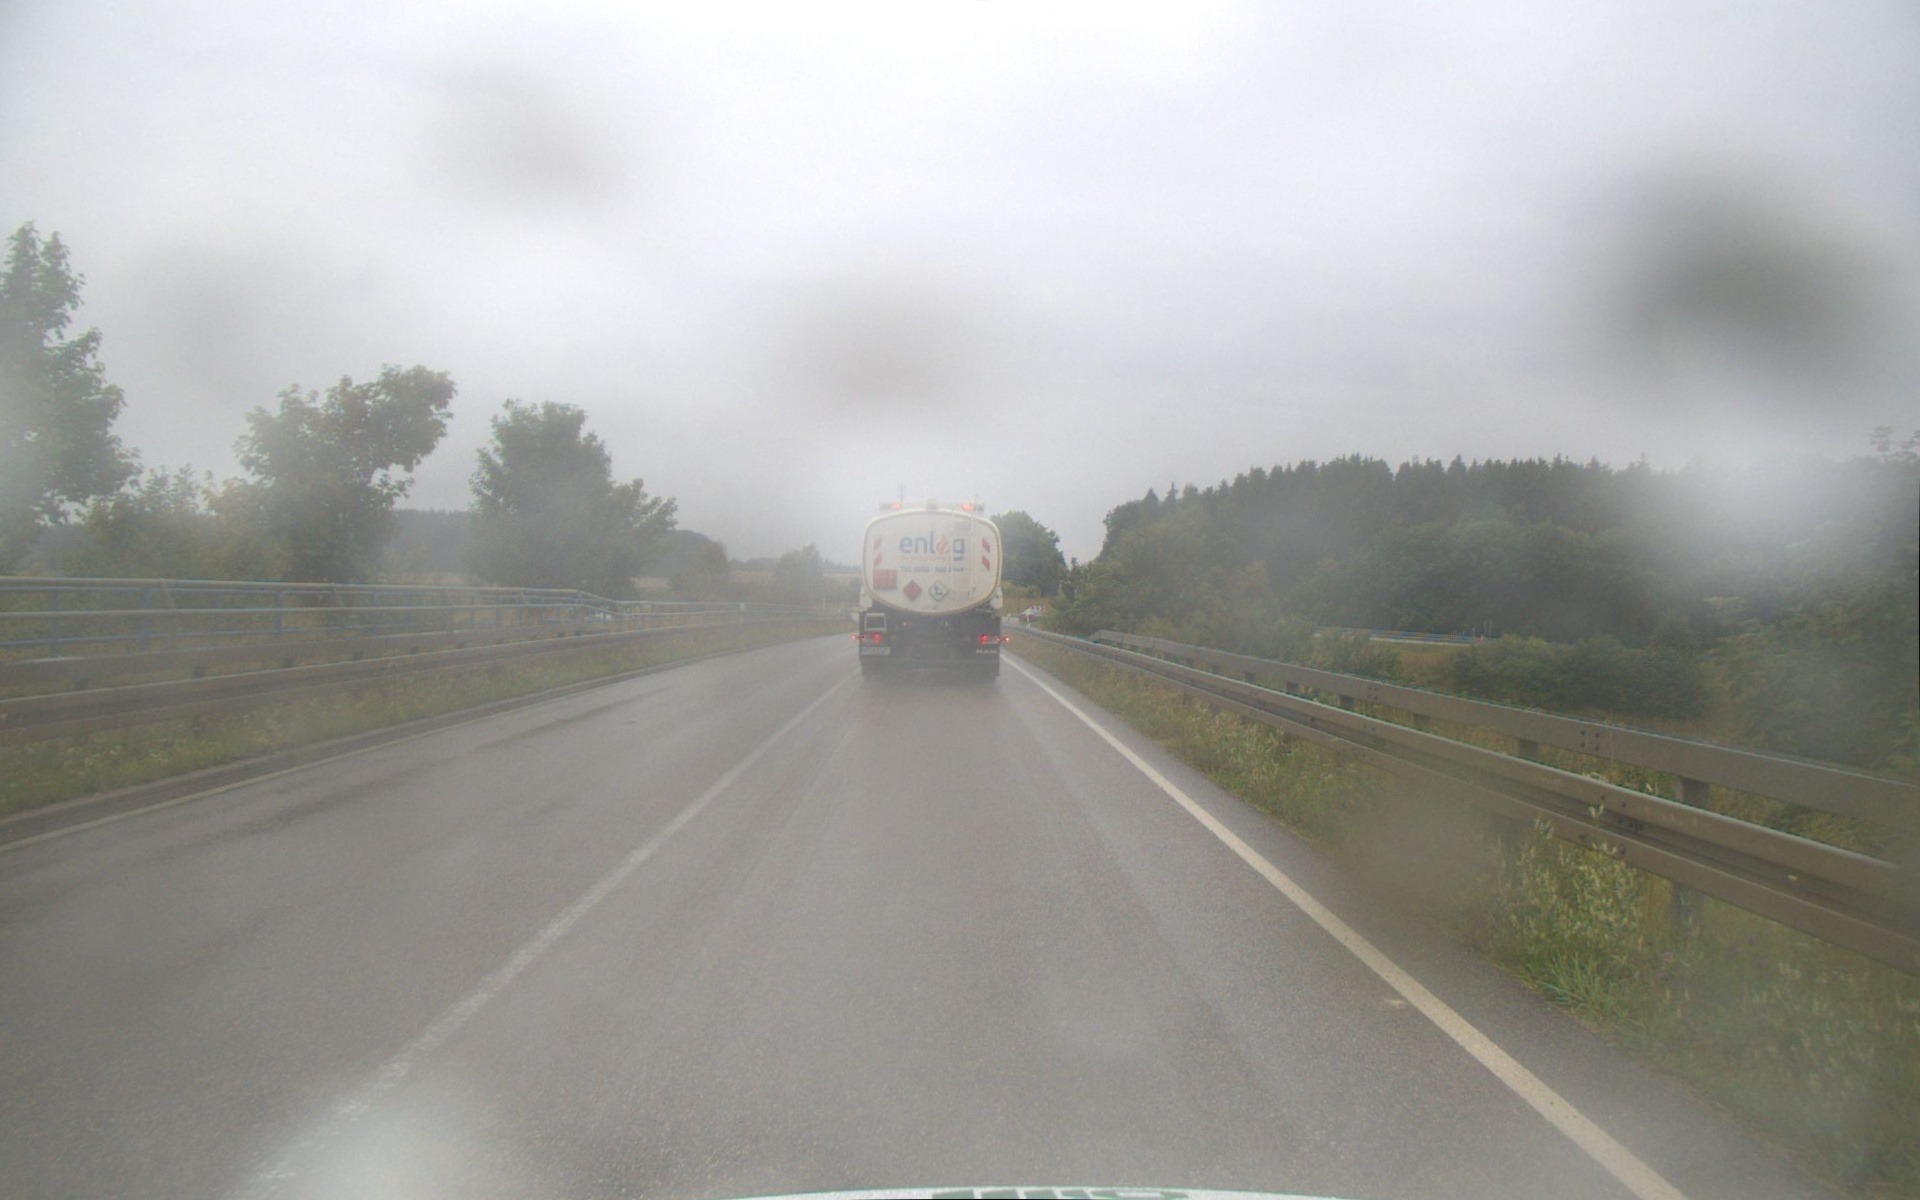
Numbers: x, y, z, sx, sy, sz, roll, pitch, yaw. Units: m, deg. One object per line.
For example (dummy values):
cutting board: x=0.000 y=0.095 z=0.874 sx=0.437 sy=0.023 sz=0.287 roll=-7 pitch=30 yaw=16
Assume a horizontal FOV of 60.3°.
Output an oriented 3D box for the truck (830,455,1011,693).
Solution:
truck: x=-0.676 y=-0.437 z=31.843 sx=2.977 sy=3.919 sz=8.821 roll=0 pitch=0 yaw=0
